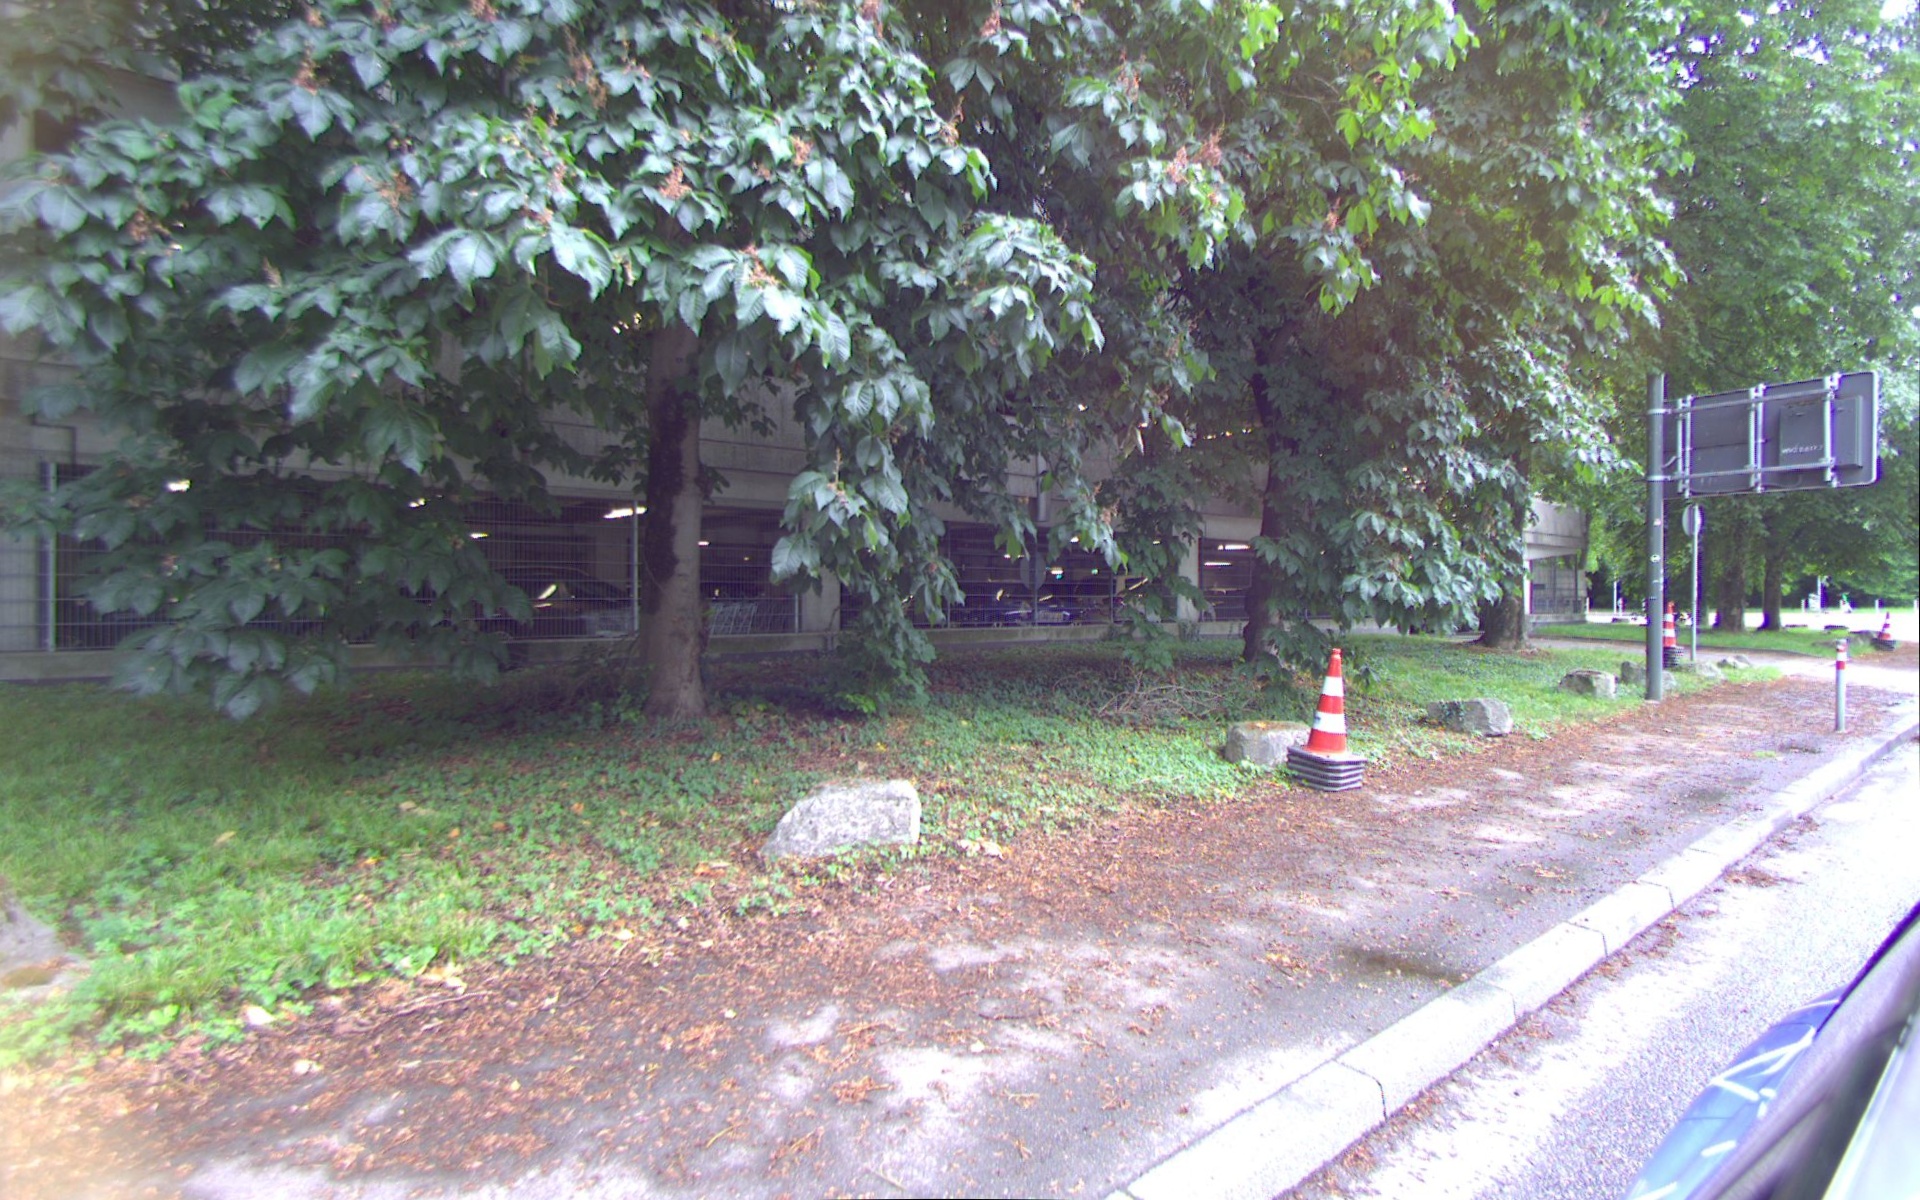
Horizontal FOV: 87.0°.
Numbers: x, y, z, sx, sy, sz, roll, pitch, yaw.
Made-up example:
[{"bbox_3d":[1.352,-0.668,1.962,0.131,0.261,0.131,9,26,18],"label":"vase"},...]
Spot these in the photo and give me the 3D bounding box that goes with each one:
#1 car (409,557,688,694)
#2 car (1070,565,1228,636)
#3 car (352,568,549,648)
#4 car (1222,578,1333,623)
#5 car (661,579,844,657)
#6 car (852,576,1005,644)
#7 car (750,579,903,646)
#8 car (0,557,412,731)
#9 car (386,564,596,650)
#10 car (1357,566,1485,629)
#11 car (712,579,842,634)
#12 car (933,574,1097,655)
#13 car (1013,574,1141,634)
[{"bbox_3d":[-6.877,0.340,17.084,3.929,2.039,1.997,-2,0,-40],"label":"car"},{"bbox_3d":[5.069,-0.034,26.823,4.587,1.730,1.588,-2,0,-41],"label":"car"},{"bbox_3d":[-11.450,0.132,22.847,3.639,1.627,1.718,-2,1,-42],"label":"car"},{"bbox_3d":[11.355,0.002,36.149,3.927,1.471,1.876,-2,1,-38],"label":"car"},{"bbox_3d":[-4.594,0.357,22.701,3.639,1.565,1.718,-2,1,-42],"label":"car"},{"bbox_3d":[-0.768,0.221,25.802,3.639,1.565,1.718,-2,1,-42],"label":"car"},{"bbox_3d":[-3.456,0.287,26.545,3.639,1.565,1.718,-2,1,-42],"label":"car"},{"bbox_3d":[-10.337,0.467,13.897,4.594,2.039,1.996,-2,0,-41],"label":"car"},{"bbox_3d":[-9.761,0.103,21.203,3.639,1.627,1.718,-2,1,-42],"label":"car"},{"bbox_3d":[14.537,-0.089,31.811,4.653,1.858,1.922,-1,0,-41],"label":"car"},{"bbox_3d":[-5.723,0.171,31.861,3.638,1.565,1.719,-2,1,-41],"label":"car"},{"bbox_3d":[1.347,0.288,23.809,3.791,1.730,1.588,-2,0,-41],"label":"car"},{"bbox_3d":[3.442,0.077,29.417,3.629,1.606,1.718,-2,1,-42],"label":"car"}]
